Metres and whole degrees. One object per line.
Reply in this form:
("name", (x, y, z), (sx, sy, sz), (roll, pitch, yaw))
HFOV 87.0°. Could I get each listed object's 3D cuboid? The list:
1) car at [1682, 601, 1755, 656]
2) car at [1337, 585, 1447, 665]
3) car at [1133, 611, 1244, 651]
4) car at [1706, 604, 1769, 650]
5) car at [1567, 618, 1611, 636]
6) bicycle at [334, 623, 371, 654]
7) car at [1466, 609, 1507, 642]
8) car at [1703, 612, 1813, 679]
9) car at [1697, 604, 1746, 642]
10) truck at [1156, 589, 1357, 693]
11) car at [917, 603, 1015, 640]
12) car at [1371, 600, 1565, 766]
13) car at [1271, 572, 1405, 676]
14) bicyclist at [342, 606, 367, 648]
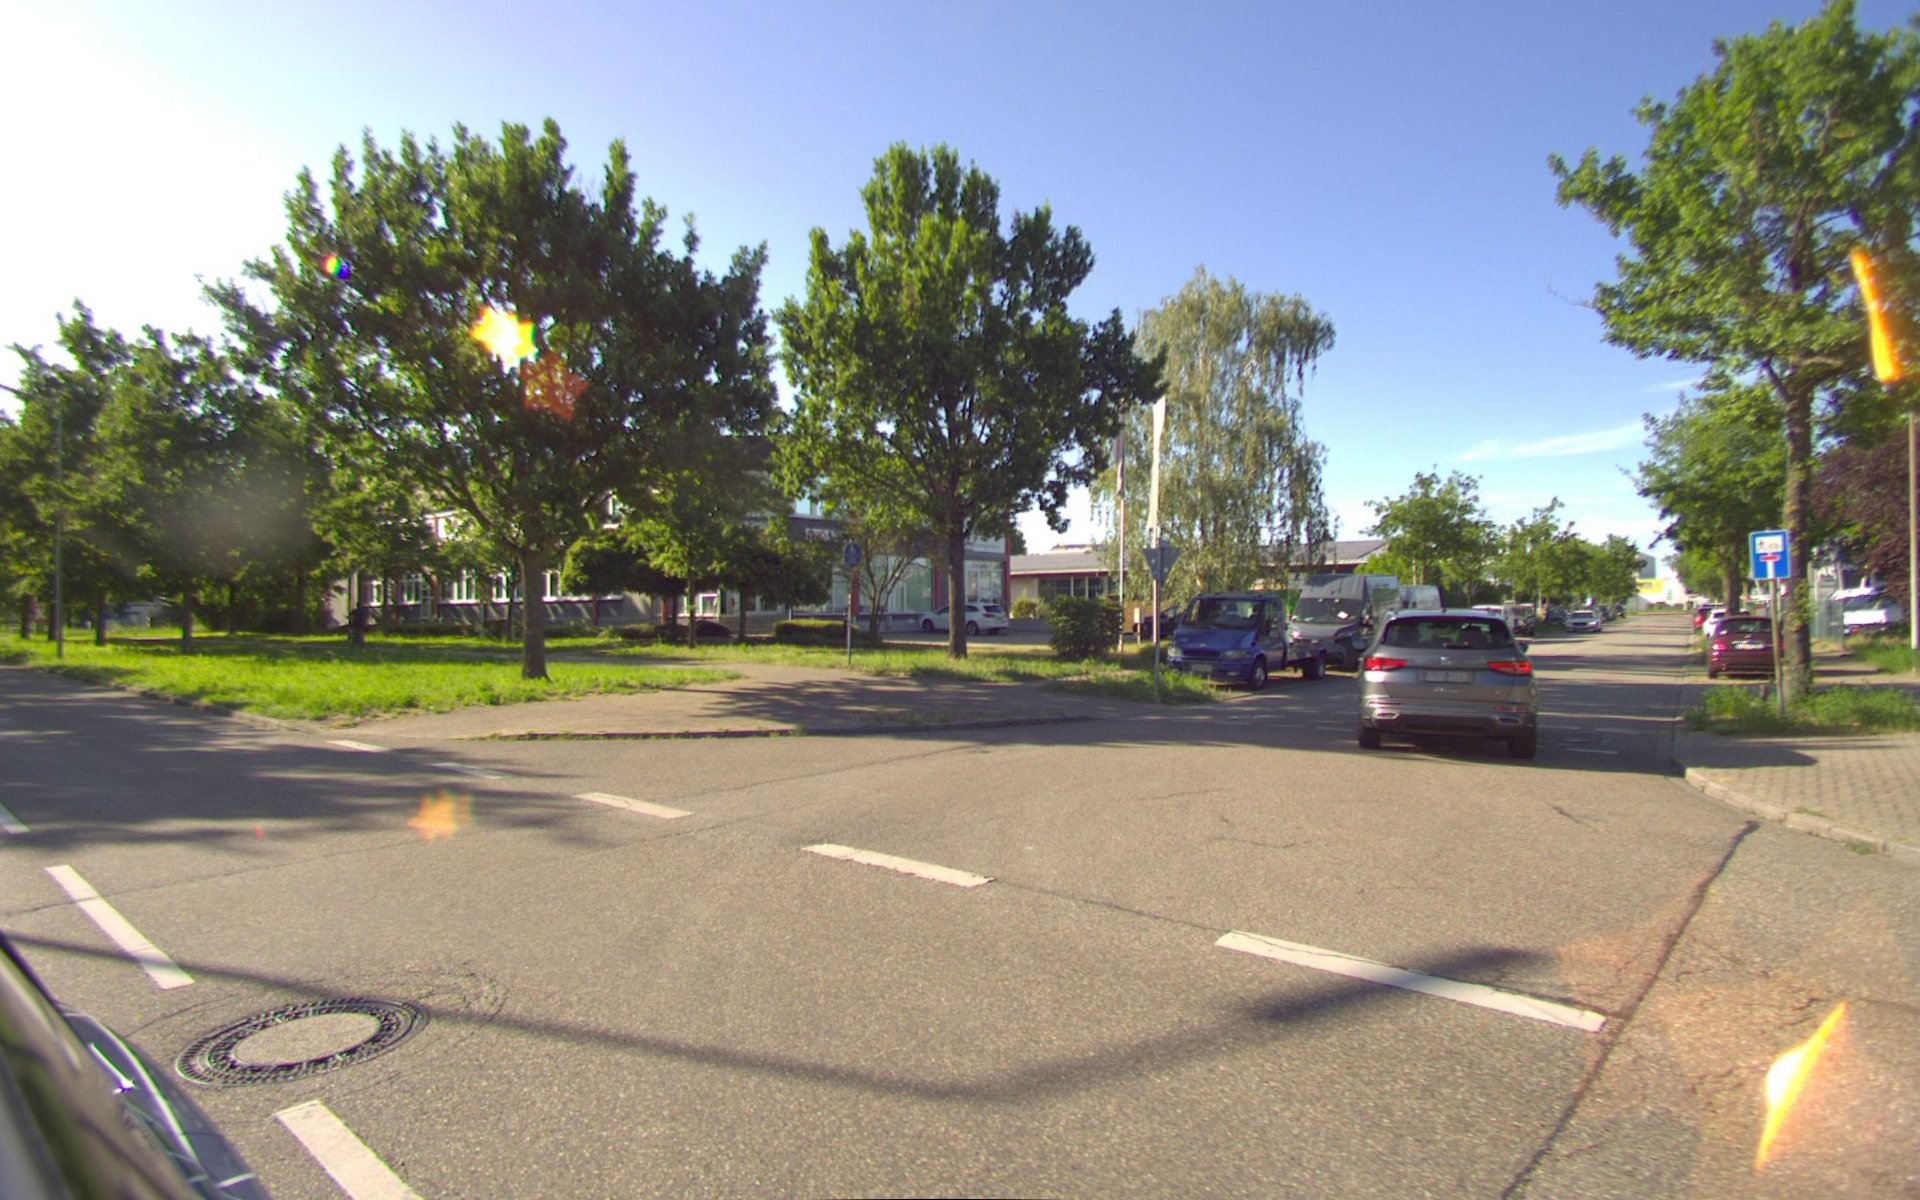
("car", (32.649, 1.147, 43.689), (2.296, 2.120, 5.298), (-1, 1, 35))
("car", (15.332, 0.774, 35.696), (2.296, 2.535, 6.284), (-1, 1, 35))
("car", (9.942, 1.292, 44.130), (4.293, 1.505, 1.974), (1, 2, 38))
("car", (39.895, 1.326, 52.042), (2.296, 2.120, 5.298), (-1, 1, 35))
("car", (41.769, 1.763, 67.174), (3.724, 1.114, 1.621), (0, -1, -45))
("bicycle", (-24.118, 1.499, 40.161), (2.333, 1.170, 0.545), (-1, 1, 42))
("car", (26.032, 1.253, 50.046), (1.506, 1.585, 3.108), (-1, -1, 33))
("car", (19.464, 1.087, 24.846), (1.820, 1.493, 4.154), (-3, -3, 35))
("car", (46.395, 1.340, 61.734), (2.200, 2.120, 4.886), (-1, 1, 35))
("truck", (7.137, 0.876, 23.629), (2.138, 2.065, 7.044), (-1, -1, 37))
("car", (0.266, 0.977, 47.321), (4.293, 1.505, 1.974), (1, 2, 38))
("car", (5.933, 0.853, 12.247), (1.748, 1.607, 4.266), (1, -1, 22))
("car", (11.221, 0.585, 29.720), (2.296, 2.723, 5.811), (-1, 1, 35))
("bicyclist", (-23.990, 1.074, 40.084), (0.658, 1.641, 0.657), (-1, 0, 41))
